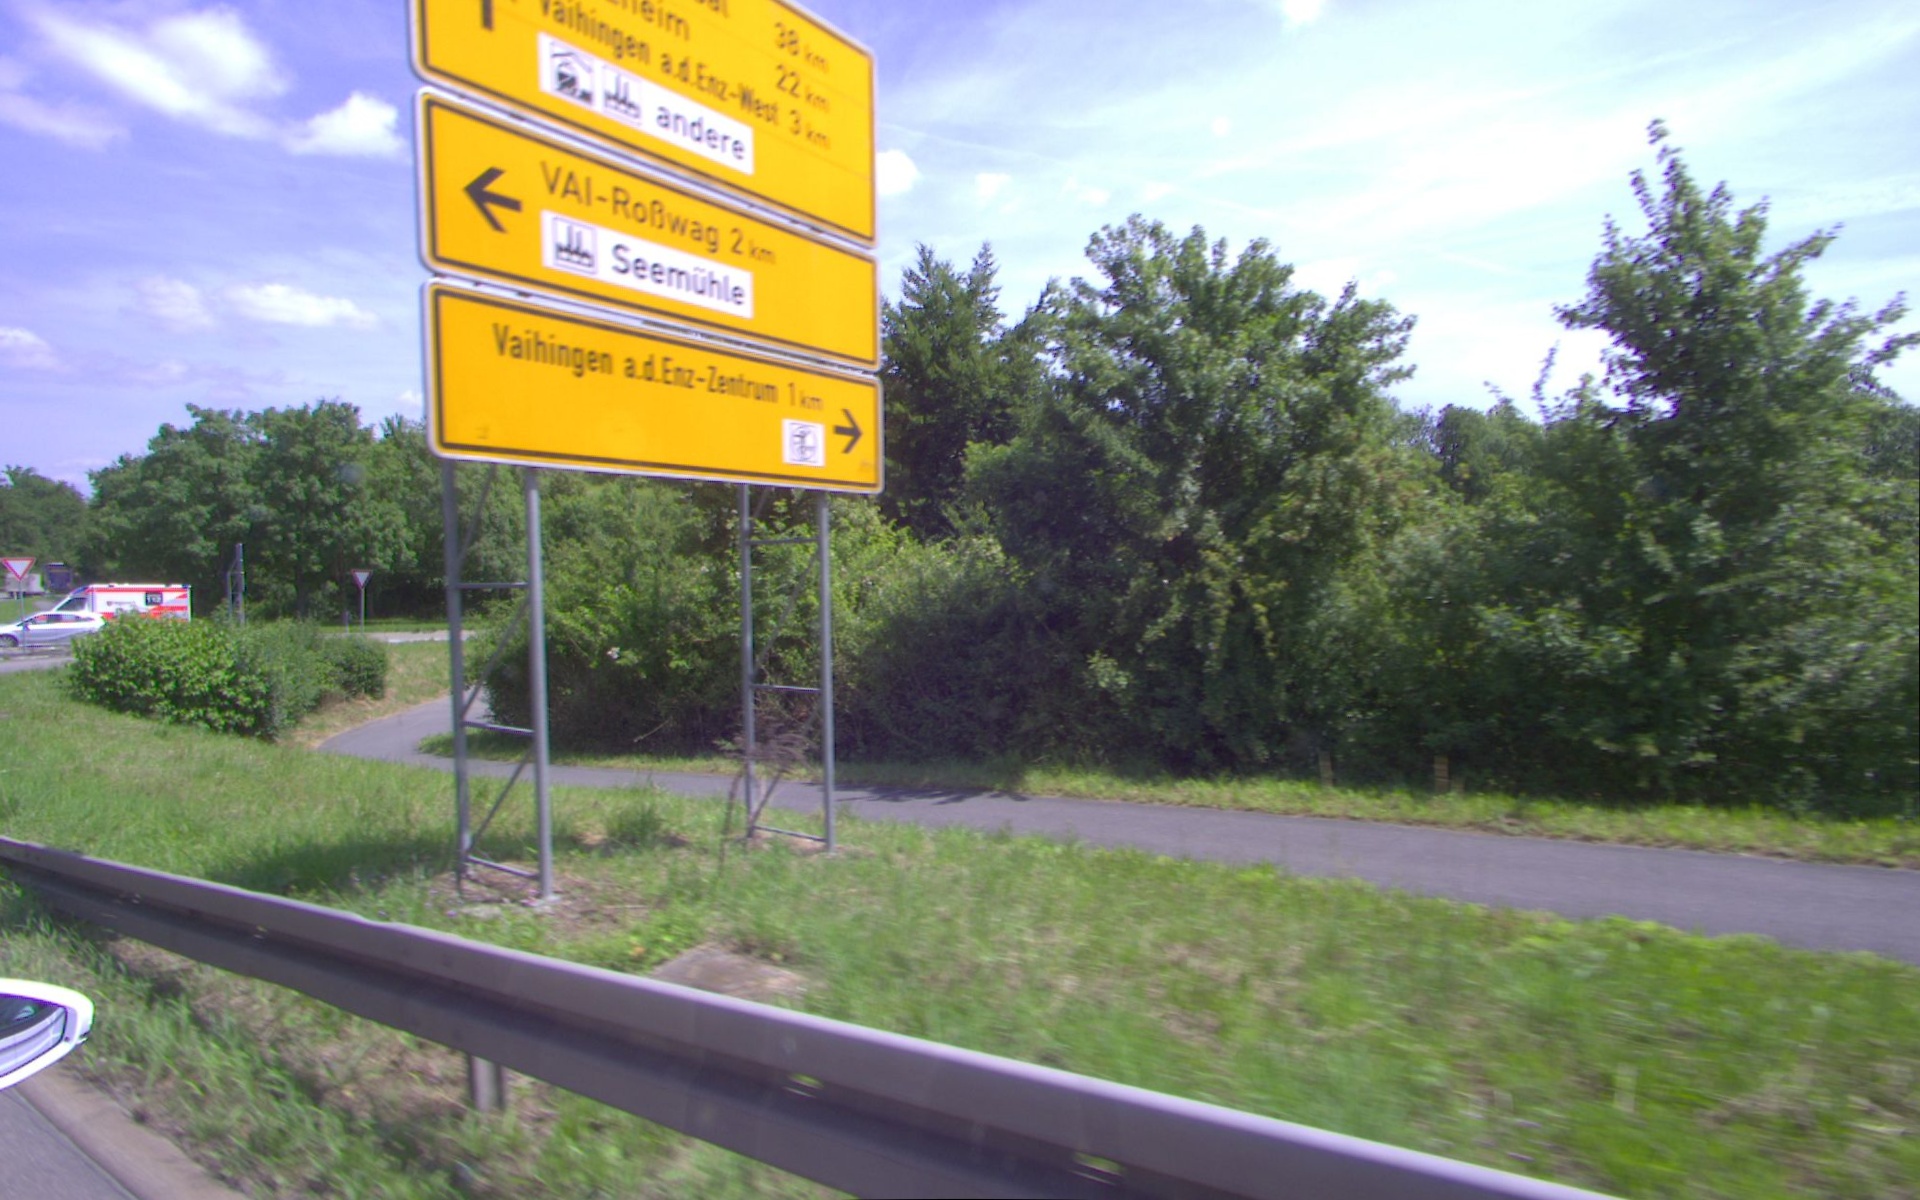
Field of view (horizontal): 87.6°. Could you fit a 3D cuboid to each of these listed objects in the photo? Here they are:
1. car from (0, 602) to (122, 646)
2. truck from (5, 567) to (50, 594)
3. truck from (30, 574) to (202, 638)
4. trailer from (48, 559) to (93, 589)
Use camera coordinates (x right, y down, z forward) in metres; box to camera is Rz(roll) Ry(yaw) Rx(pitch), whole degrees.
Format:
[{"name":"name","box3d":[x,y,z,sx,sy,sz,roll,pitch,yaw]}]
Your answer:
[{"name":"car","box3d":[-37.841,1.015,41.578,1.976,1.740,4.411,-3,-3,39]},{"name":"truck","box3d":[-113.287,-2.367,121.723,2.827,2.986,7.059,1,-1,-34]},{"name":"truck","box3d":[-39.367,0.346,47.006,5.956,2.762,2.485,1,-3,-36]},{"name":"trailer","box3d":[-120.827,-3.433,136.106,3.219,3.733,9.192,1,-1,-34]}]
